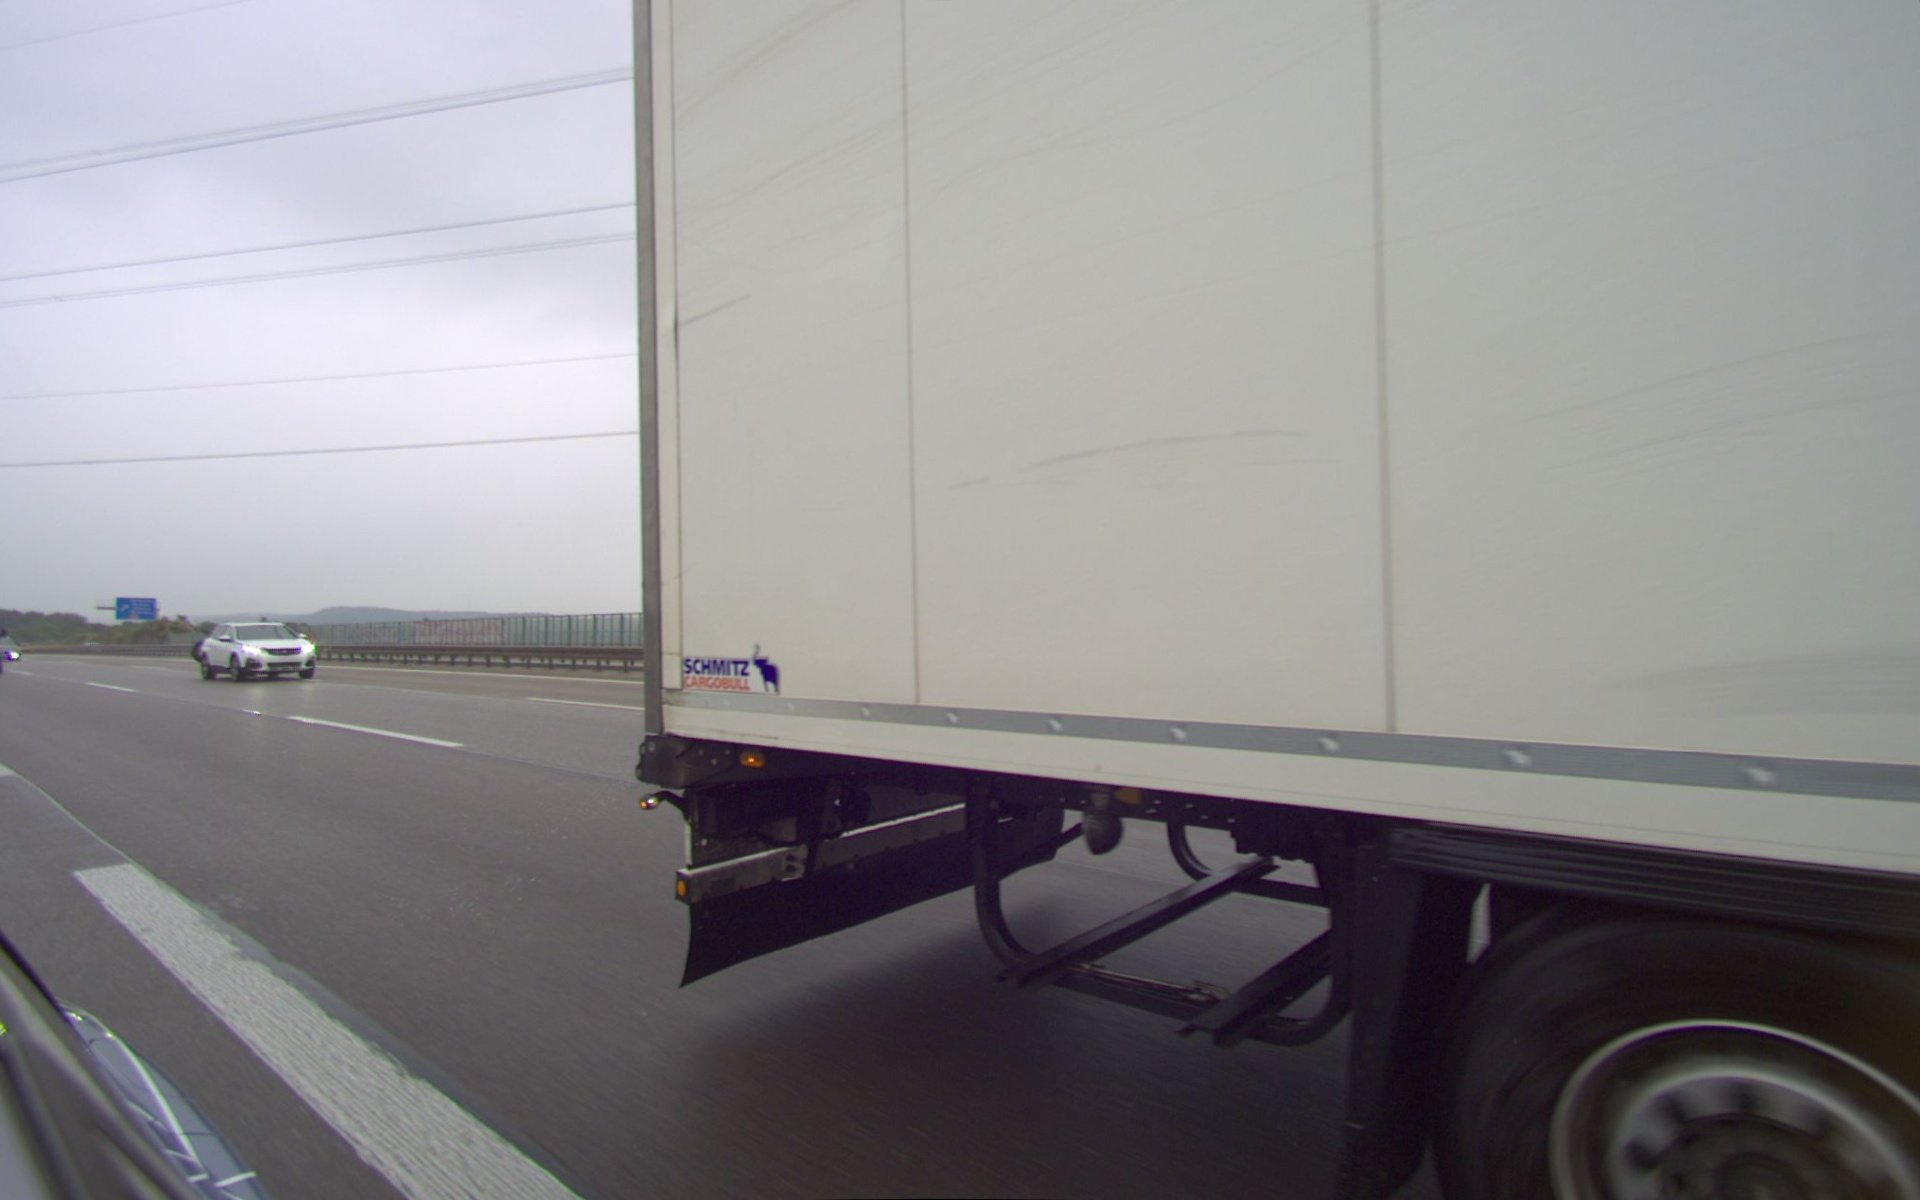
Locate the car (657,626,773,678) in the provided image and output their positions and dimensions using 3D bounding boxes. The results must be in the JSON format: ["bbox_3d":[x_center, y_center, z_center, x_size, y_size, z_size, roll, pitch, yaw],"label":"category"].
[{"bbox_3d":[-9.103,1.872,37.449,4.464,1.757,1.901,-1,-1,40],"label":"car"}]

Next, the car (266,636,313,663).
[{"bbox_3d":[-46.126,3.389,69.598,3.783,1.596,1.609,-3,4,41],"label":"car"}]

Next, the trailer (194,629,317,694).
[{"bbox_3d":[-19.644,1.694,28.153,4.566,1.637,1.796,-3,-3,41],"label":"trailer"}]

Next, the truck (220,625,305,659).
[{"bbox_3d":[-69.377,4.067,100.464,14.315,2.856,3.572,-1,0,41],"label":"truck"}]

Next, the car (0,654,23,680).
[{"bbox_3d":[-55.326,3.835,58.202,4.828,1.413,1.707,-3,-2,43],"label":"car"}]
